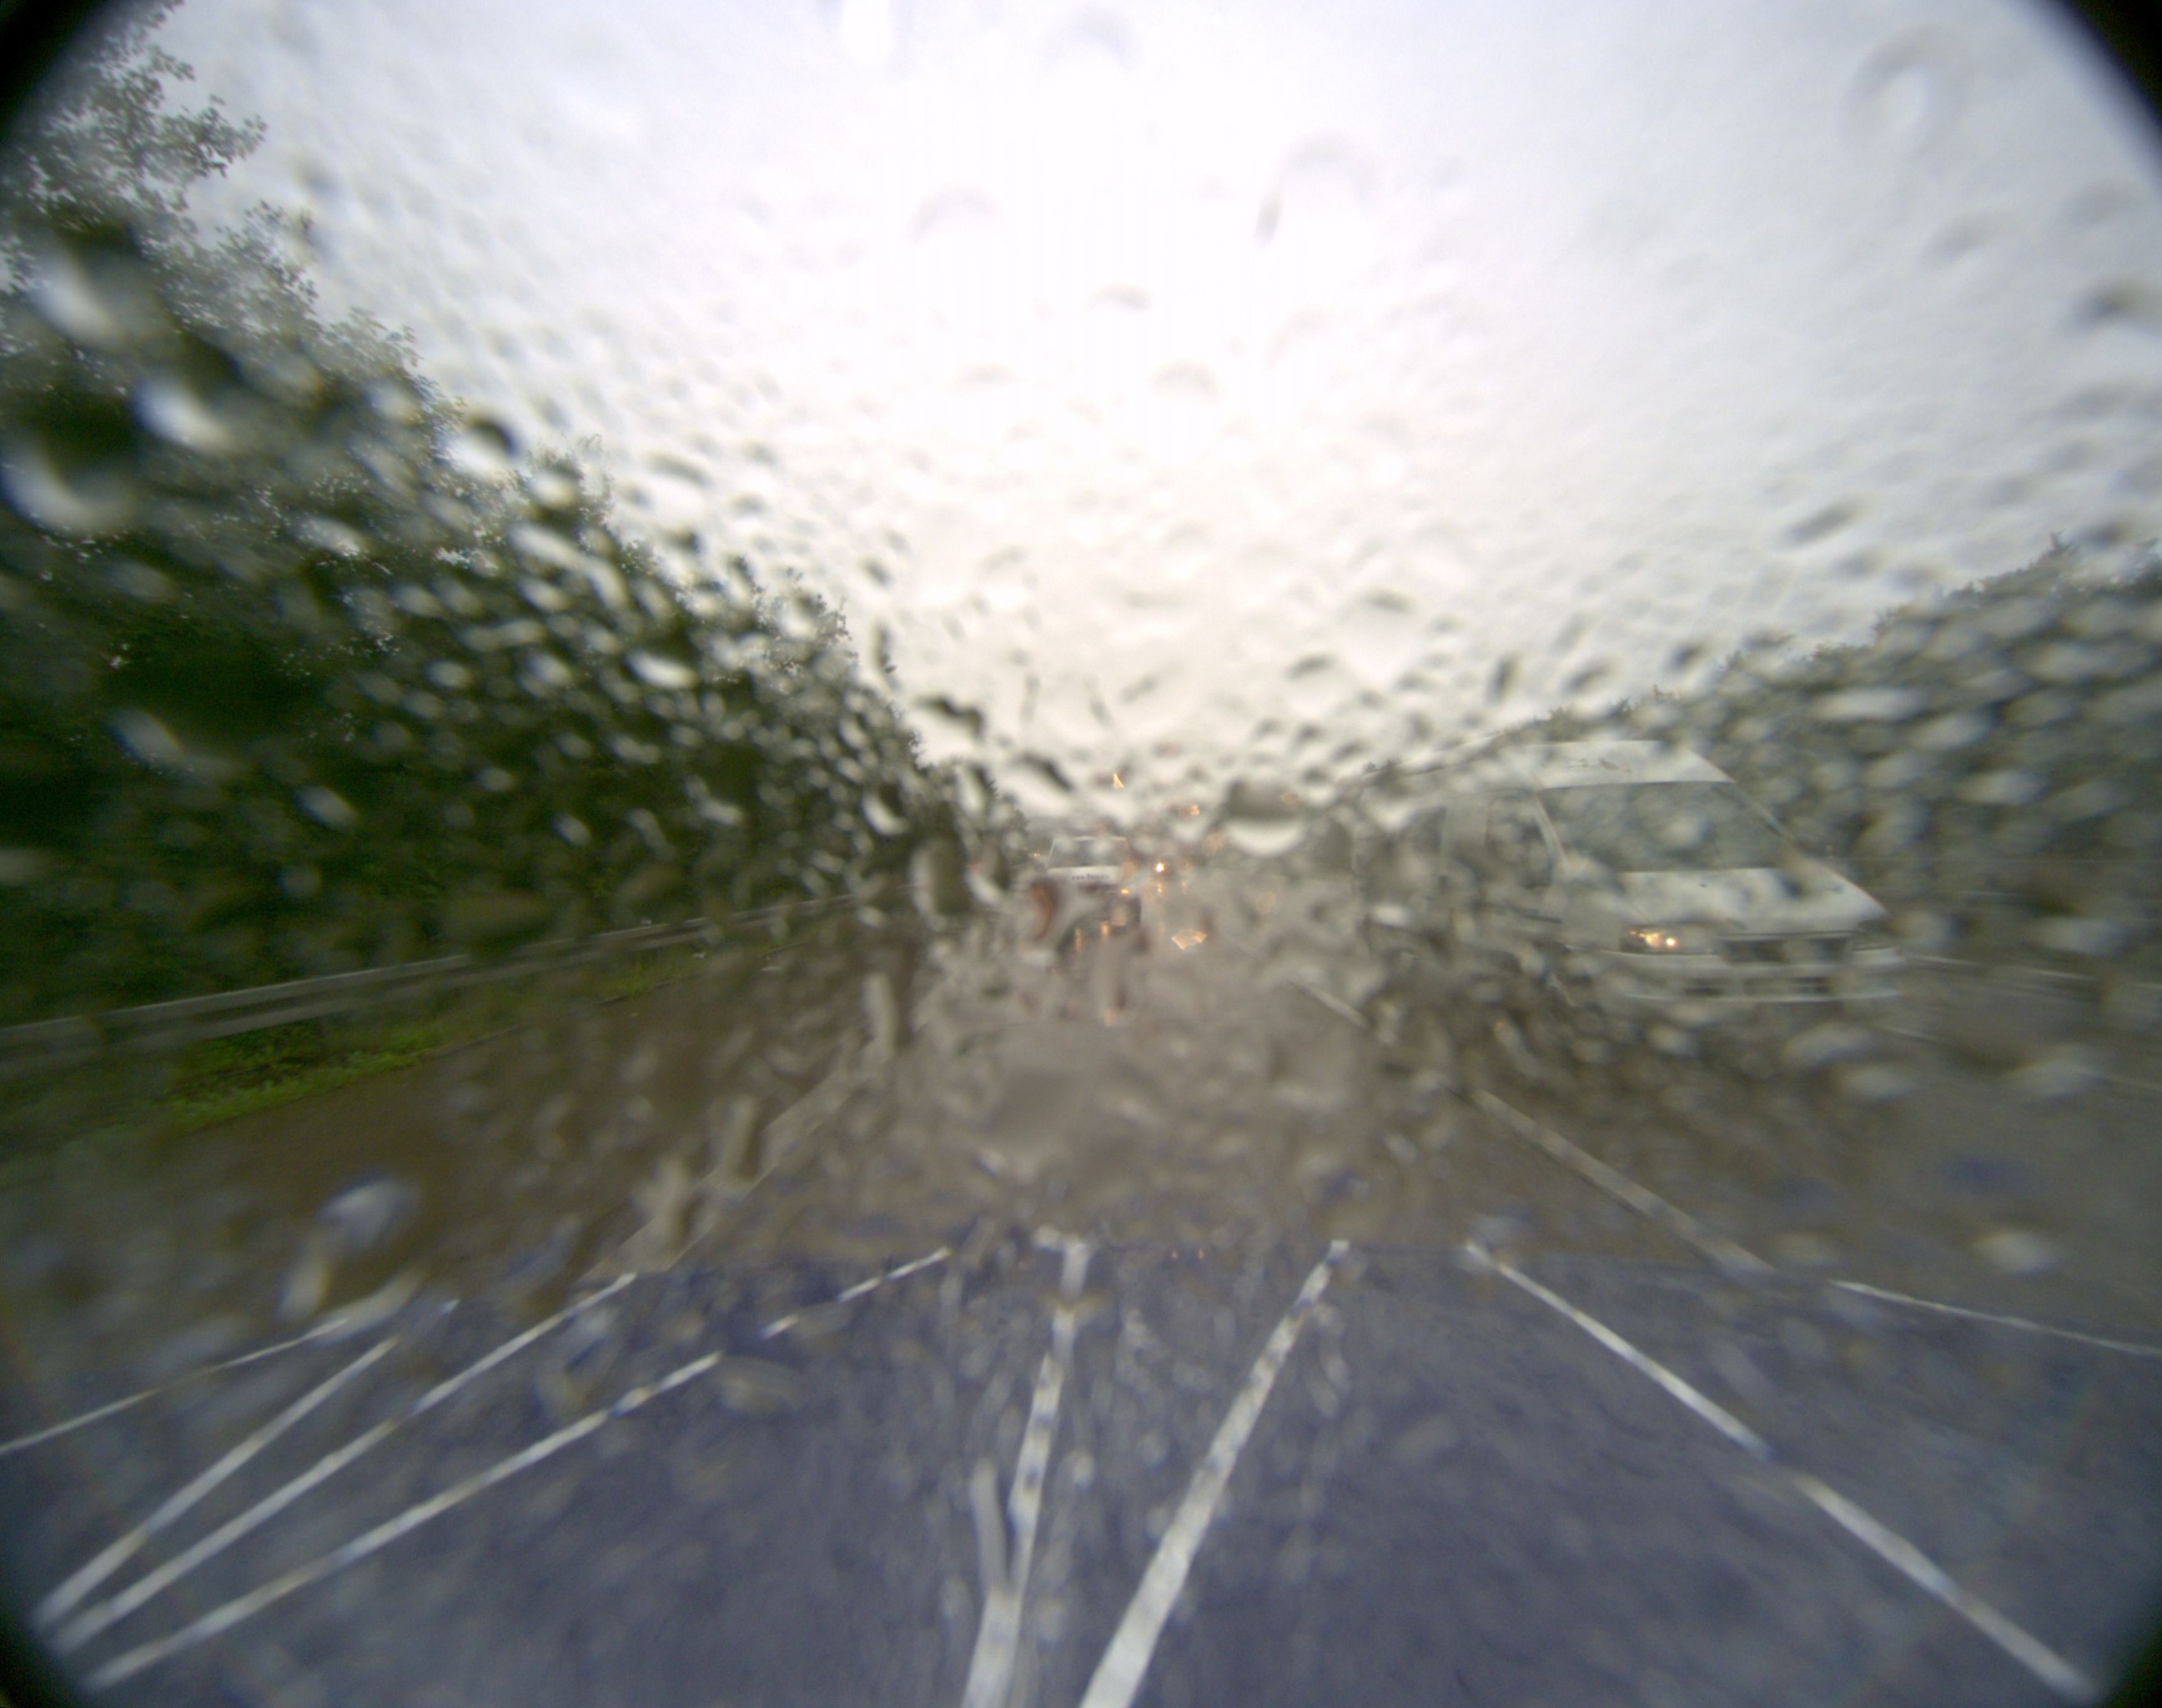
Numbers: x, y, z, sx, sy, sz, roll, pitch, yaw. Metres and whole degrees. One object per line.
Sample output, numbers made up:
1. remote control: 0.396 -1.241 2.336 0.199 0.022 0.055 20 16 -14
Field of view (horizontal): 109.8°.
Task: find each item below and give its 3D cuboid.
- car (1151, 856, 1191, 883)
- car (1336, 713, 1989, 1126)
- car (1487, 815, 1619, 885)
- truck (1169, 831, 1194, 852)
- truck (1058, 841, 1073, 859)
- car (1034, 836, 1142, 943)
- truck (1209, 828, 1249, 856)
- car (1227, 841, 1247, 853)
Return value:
1. car: 5.141 0.861 43.785 1.745 1.380 4.320 1 1 -1
2. car: 4.439 0.389 7.428 2.002 2.417 5.790 -2 0 1
3. car: 21.553 -0.190 35.125 2.093 2.883 6.534 -2 0 1
4. truck: 21.895 -2.675 166.442 3.132 4.220 13.538 -2 0 -1
5. truck: -3.694 -0.943 181.824 3.058 3.994 10.044 2 -2 0
6. car: 0.177 0.634 16.268 1.904 1.883 5.043 -2 0 1
7. truck: 24.250 -1.850 125.543 3.132 4.220 16.369 -2 0 -1
8. car: 21.368 -0.965 104.335 1.952 1.649 4.000 -2 0 1
